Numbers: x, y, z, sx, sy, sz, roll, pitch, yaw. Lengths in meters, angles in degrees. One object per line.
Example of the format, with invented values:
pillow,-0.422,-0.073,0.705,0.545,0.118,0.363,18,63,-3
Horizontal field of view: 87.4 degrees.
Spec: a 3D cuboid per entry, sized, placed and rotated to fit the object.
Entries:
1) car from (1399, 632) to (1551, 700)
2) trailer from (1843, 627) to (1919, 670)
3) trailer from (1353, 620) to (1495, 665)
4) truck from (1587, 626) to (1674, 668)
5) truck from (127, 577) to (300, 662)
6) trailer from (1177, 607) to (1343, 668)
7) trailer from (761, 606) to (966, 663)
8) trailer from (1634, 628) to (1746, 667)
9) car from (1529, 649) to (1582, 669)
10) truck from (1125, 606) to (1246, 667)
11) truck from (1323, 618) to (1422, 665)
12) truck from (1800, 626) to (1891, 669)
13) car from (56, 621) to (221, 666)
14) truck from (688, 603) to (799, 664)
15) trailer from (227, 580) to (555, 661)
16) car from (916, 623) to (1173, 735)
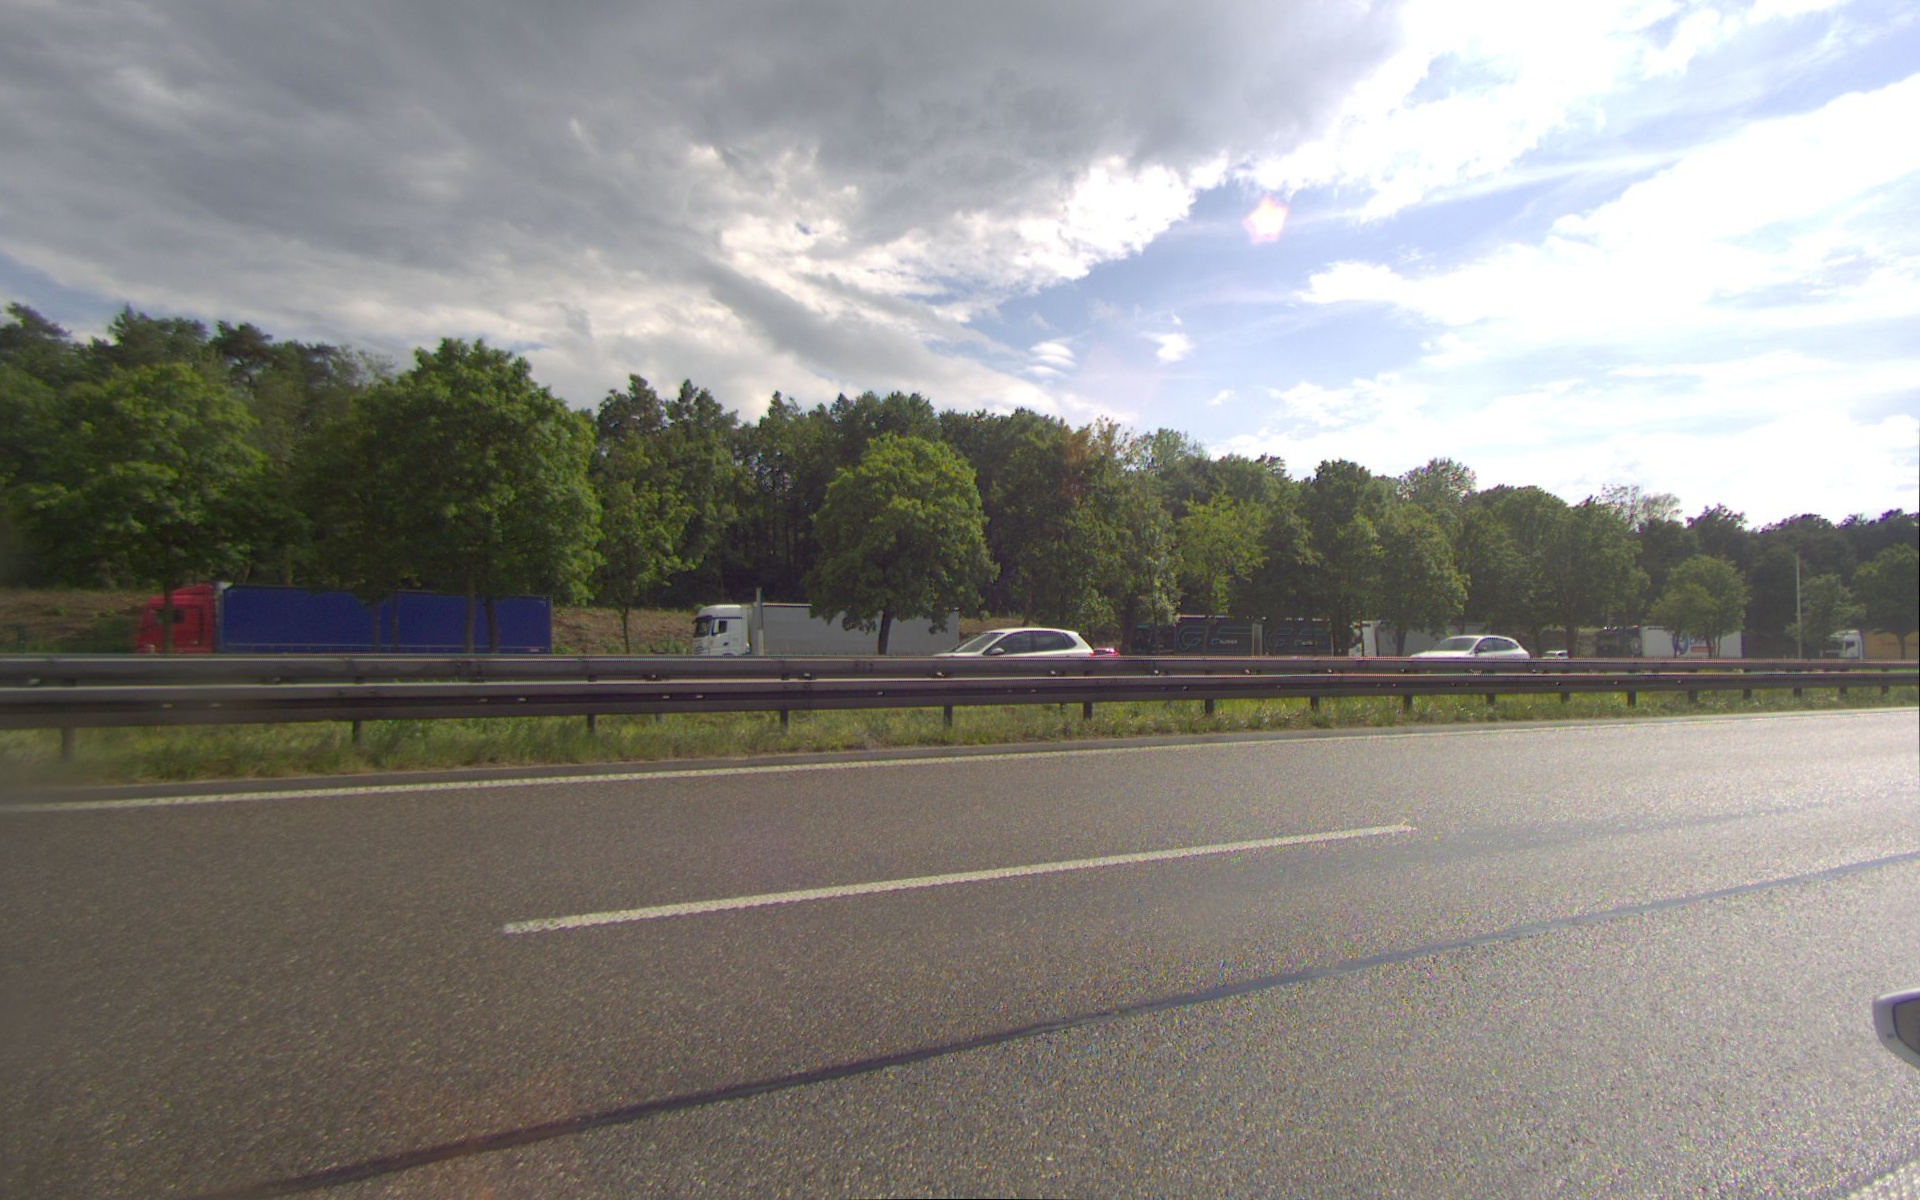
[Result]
car,16.030,2.033,31.217,4.719,1.916,1.823,2,-1,-28
trailer,100.632,5.229,107.036,11.526,4.171,3.790,2,0,-14
trailer,40.011,3.692,86.386,13.170,3.697,3.776,2,-2,-26
truck,63.985,4.441,95.837,6.607,3.708,3.781,2,-1,-22
truck,-32.505,0.895,44.066,5.838,3.502,2.842,2,-1,-35
trailer,23.667,2.974,78.847,13.620,4.463,3.776,2,-2,-26
trailer,-5.780,2.197,61.905,12.325,3.259,3.333,2,-2,-30
trailer,71.812,4.693,98.833,10.337,3.697,3.785,1,-2,-20
car,54.709,5.425,92.281,4.308,1.741,2.053,2,-1,-24
truck,16.911,2.774,75.383,8.308,4.290,3.774,2,-1,-27
truck,34.274,3.480,83.523,7.260,3.637,3.774,2,-1,-27
truck,92.581,4.930,105.088,6.925,4.171,3.790,2,0,-14
car,-40.093,2.144,49.286,6.074,2.040,1.980,2,-1,-36
truck,-12.502,1.915,58.024,5.445,3.316,3.335,2,-1,-31
trailer,-26.711,1.096,48.056,13.290,3.449,2.805,2,-2,-35
car,1.677,1.487,19.555,4.719,1.916,1.823,2,-1,-28
